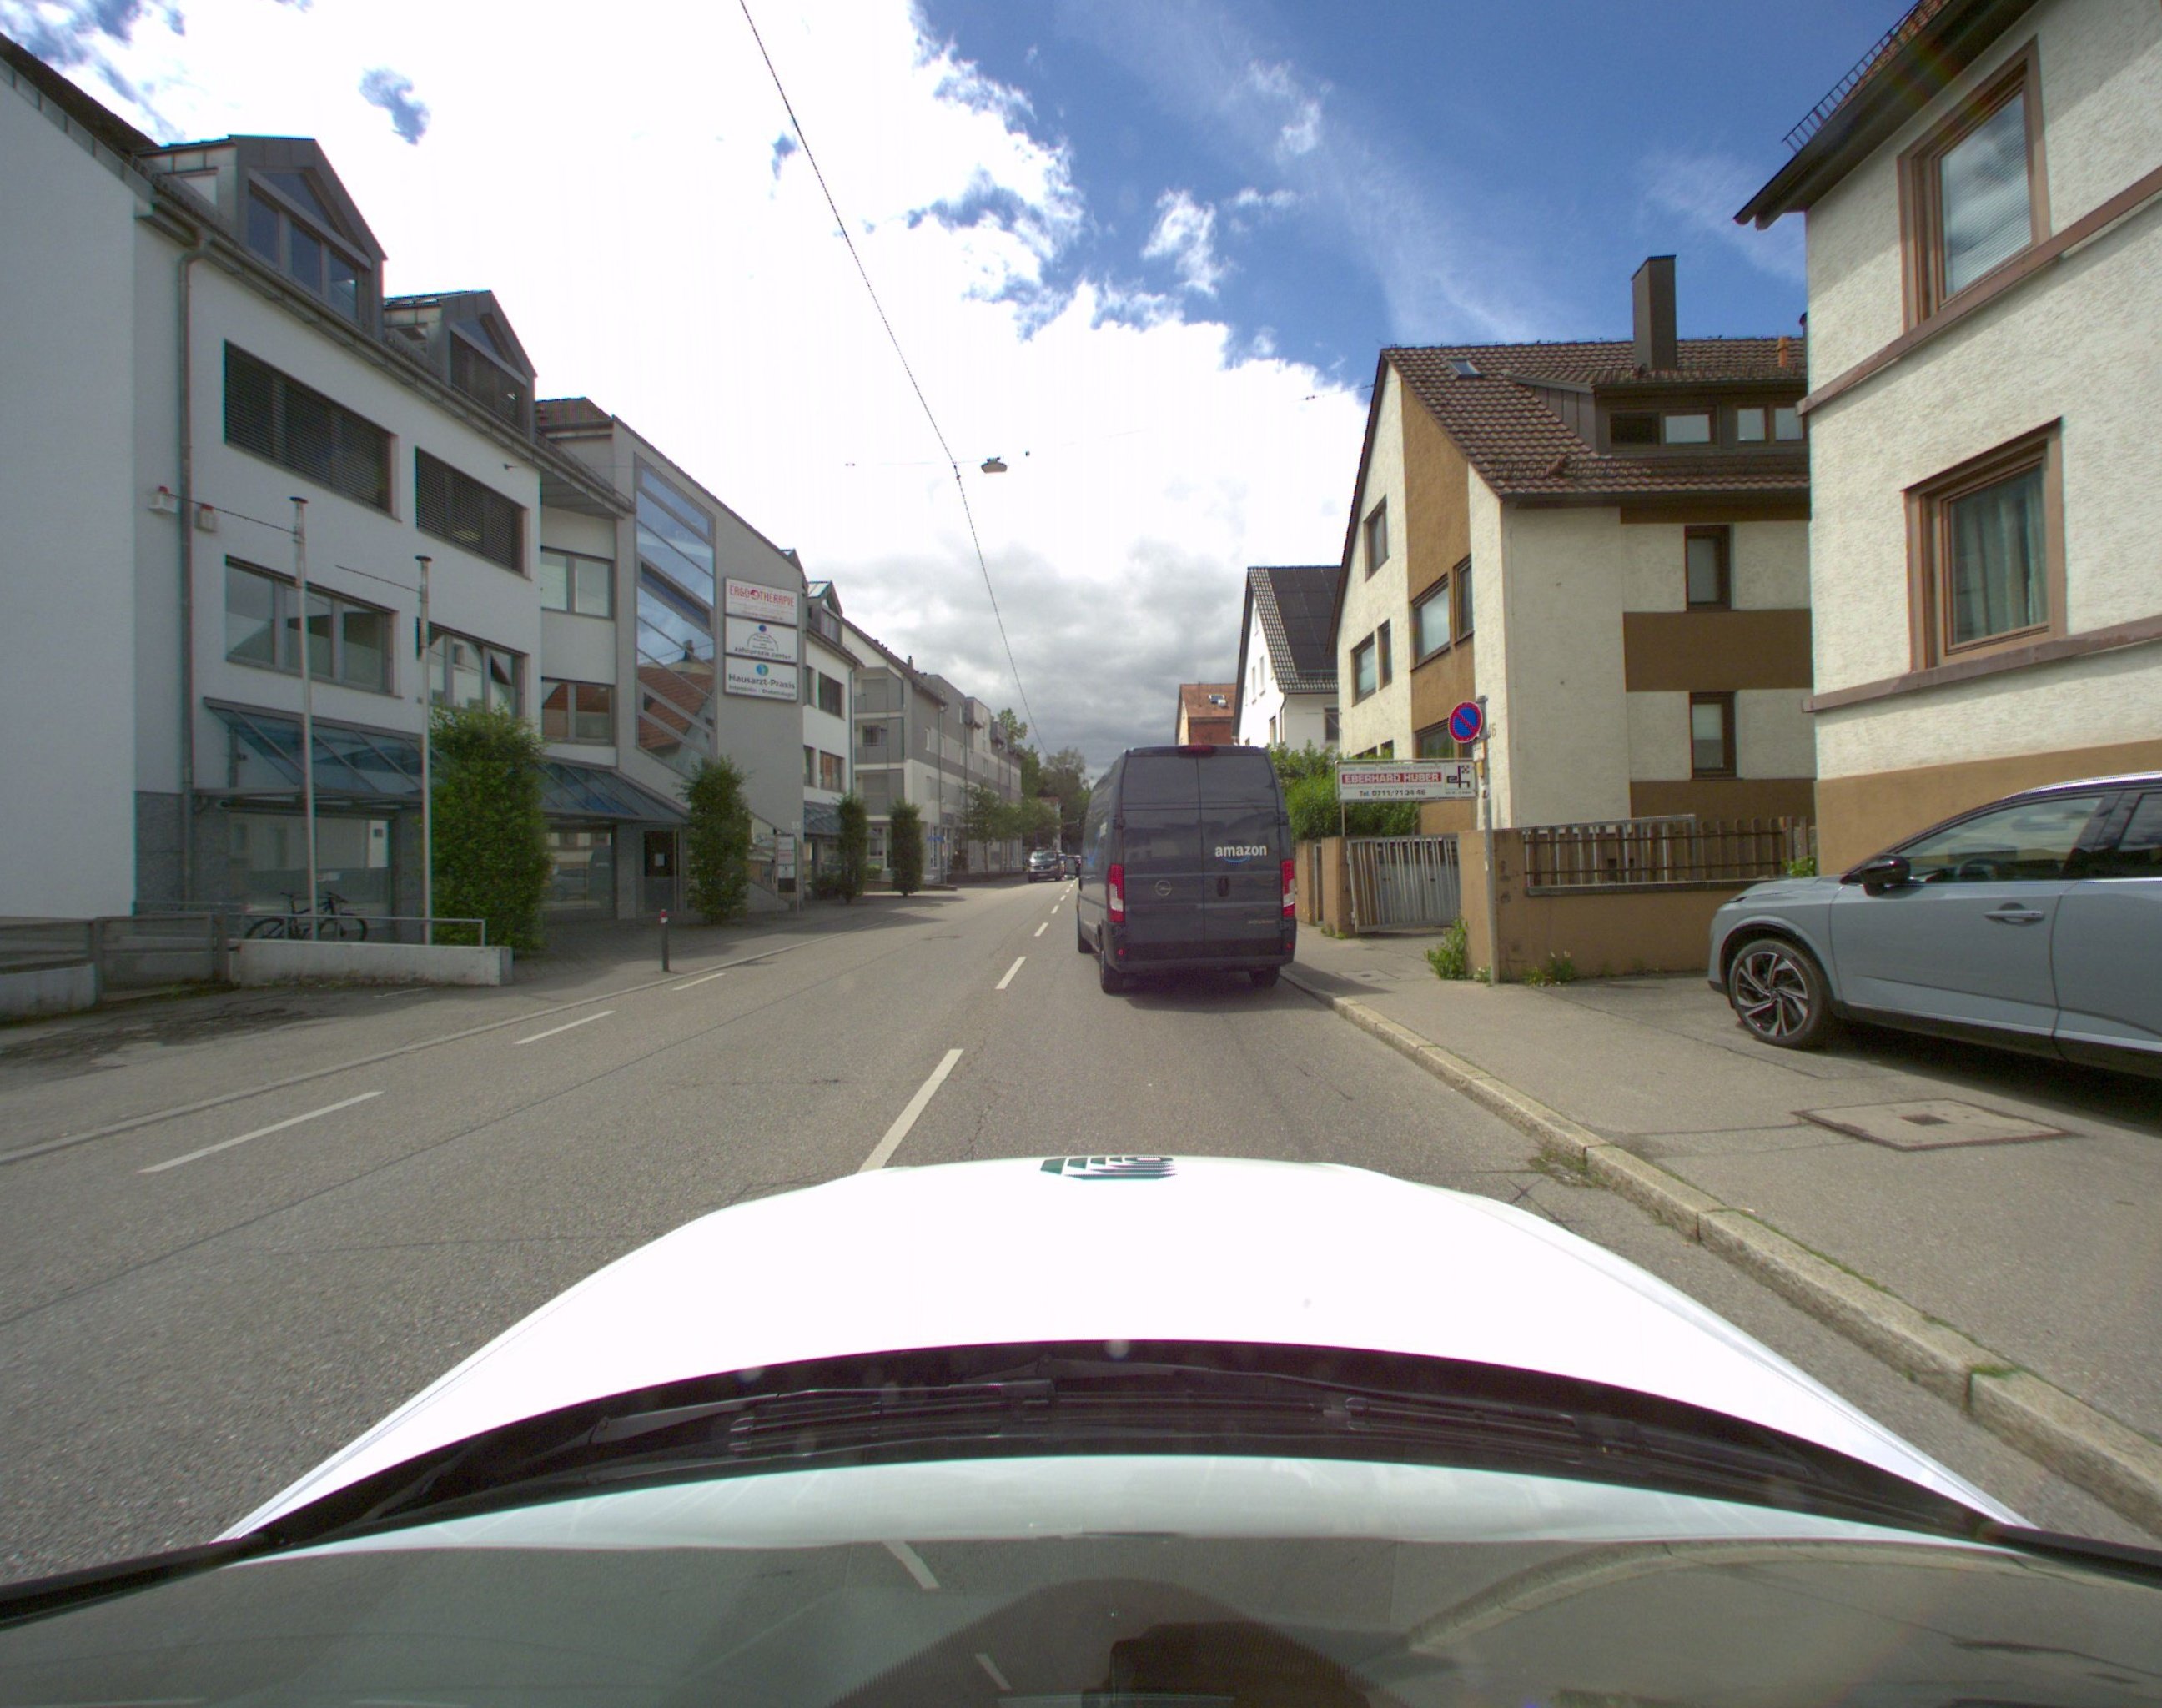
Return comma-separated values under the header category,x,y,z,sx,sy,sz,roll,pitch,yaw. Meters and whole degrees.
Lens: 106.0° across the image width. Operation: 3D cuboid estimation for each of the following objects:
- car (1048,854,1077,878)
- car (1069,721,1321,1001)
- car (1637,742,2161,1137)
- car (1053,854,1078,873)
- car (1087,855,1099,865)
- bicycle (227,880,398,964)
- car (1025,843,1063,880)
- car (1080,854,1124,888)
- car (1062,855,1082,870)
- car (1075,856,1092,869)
category,x,y,z,sx,sy,sz,roll,pitch,yaw
car,-1.378,0.918,63.209,2.098,1.710,4.765,-1,0,0
car,1.133,0.063,11.063,2.248,2.795,5.561,-1,0,-4
car,5.326,0.310,4.131,1.854,1.612,4.586,-3,0,0
car,-1.358,0.833,72.838,2.098,1.596,4.649,-1,0,0
car,2.085,1.015,142.226,2.098,1.596,4.649,-1,0,0
bicycle,-11.607,0.992,12.413,0.628,1.095,2.004,-2,0,2
car,-2.262,0.460,50.966,2.098,2.121,4.765,-2,0,0
car,1.035,0.772,38.752,1.888,1.453,3.972,-1,0,4
car,-0.939,0.945,89.368,2.098,1.596,4.649,-1,0,0
car,0.373,1.066,103.736,2.098,1.596,4.649,-1,0,0
